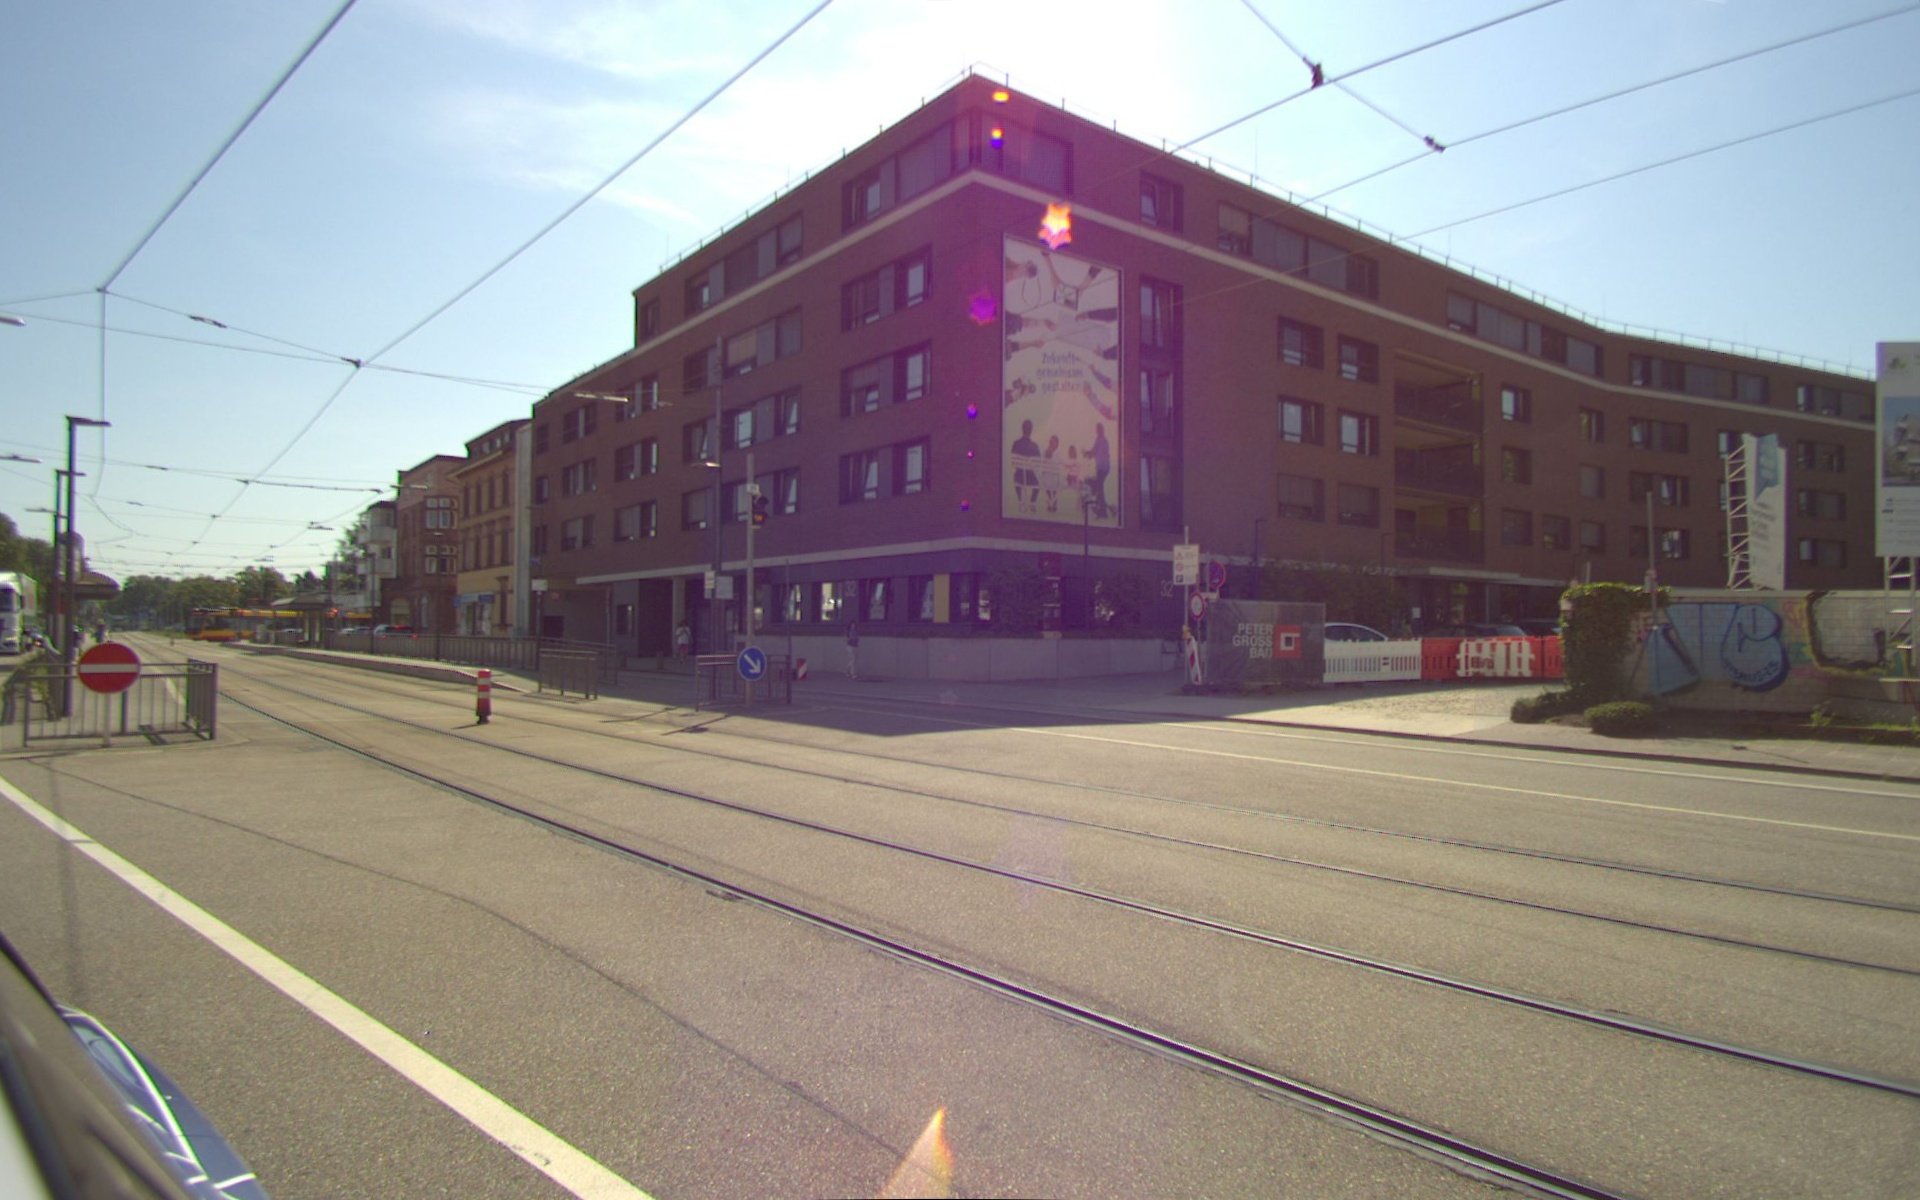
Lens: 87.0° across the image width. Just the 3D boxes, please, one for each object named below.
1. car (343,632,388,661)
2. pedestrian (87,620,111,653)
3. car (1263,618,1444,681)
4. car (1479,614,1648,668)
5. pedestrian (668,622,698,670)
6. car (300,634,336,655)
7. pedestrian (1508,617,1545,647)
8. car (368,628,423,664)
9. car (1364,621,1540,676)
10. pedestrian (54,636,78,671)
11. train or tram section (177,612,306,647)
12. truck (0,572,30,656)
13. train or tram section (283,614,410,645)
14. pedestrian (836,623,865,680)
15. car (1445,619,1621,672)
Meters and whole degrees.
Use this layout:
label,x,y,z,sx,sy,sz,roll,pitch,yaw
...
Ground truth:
label,x,y,z,sx,sy,sz,roll,pitch,yaw
car,-35.333,2.733,60.115,1.690,1.635,3.584,0,-2,-40
pedestrian,-49.051,2.067,57.677,0.968,1.873,1.239,2,-3,-40
car,10.116,1.237,26.177,3.936,1.434,1.805,-1,-1,-8
car,18.341,1.200,30.954,1.787,1.543,4.069,1,-1,-30
pedestrian,-10.627,1.754,38.870,0.834,1.833,0.840,1,-3,-40
car,-45.783,3.173,72.134,1.605,1.480,3.871,1,-3,-40
pedestrian,25.271,1.433,45.145,1.104,1.310,1.018,1,-2,-36
car,-29.742,2.406,53.283,1.778,1.742,4.195,-1,-1,-40
car,13.425,1.279,27.888,1.837,1.376,4.069,1,-1,-27
pedestrian,-32.089,1.918,36.328,0.621,1.264,0.710,2,-3,-41
train or tram section,-76.634,3.184,108.478,2.659,3.507,13.296,0,-2,10
truck,-46.489,0.726,48.320,2.617,3.823,7.875,2,-3,-40
train or tram section,-72.591,3.567,120.338,2.679,3.507,13.197,-1,-2,31
pedestrian,-3.262,1.529,30.112,0.574,1.677,0.700,2,-3,-42
car,16.110,1.237,28.697,1.836,1.376,4.070,0,-1,-21
